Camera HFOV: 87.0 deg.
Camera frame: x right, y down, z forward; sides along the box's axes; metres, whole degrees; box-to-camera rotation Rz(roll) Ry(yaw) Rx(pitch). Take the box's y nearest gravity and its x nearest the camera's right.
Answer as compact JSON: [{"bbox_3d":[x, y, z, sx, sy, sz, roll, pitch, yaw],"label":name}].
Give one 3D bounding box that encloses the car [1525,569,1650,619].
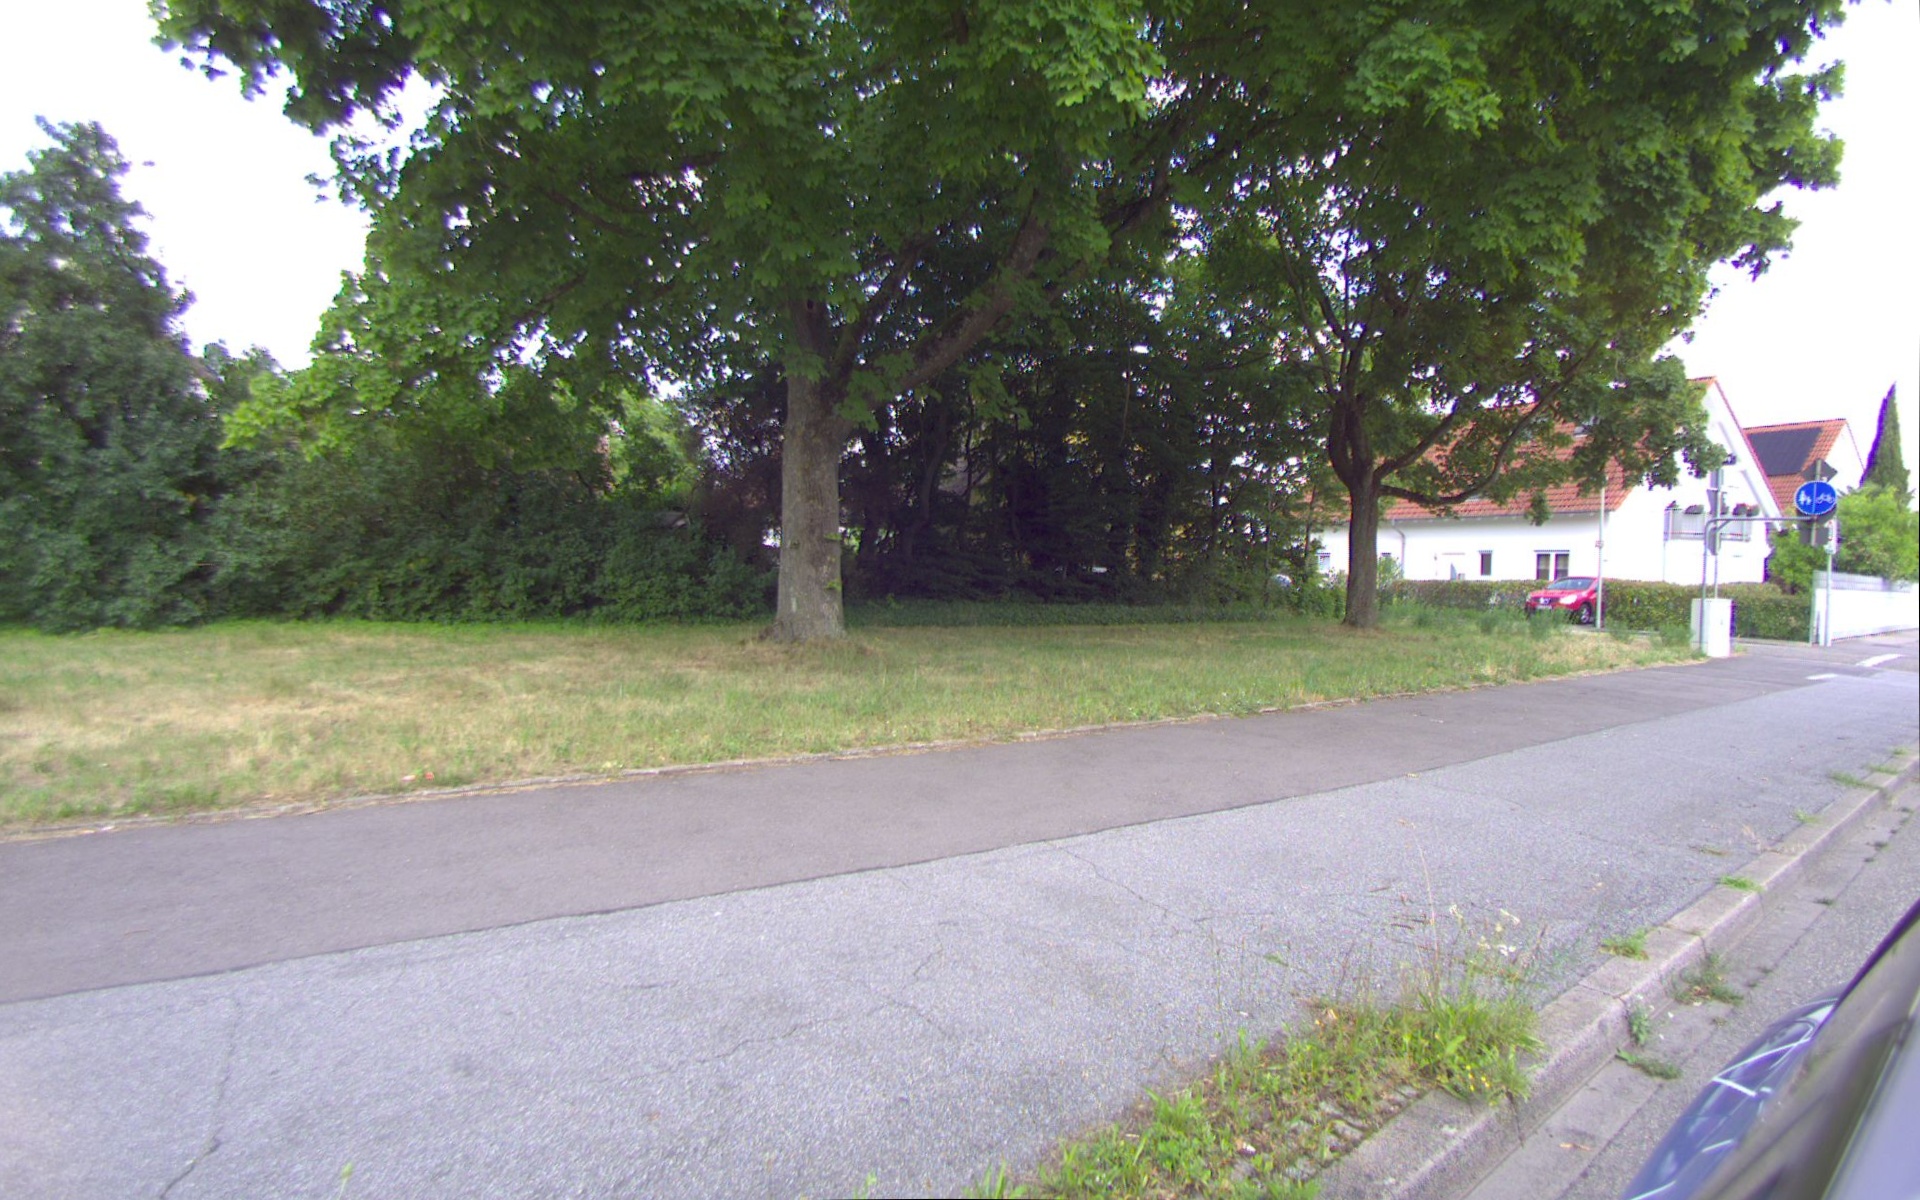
[{"bbox_3d":[20.974,-0.181,33.780,4.305,1.549,1.684,1,2,-30],"label":"car"}]
